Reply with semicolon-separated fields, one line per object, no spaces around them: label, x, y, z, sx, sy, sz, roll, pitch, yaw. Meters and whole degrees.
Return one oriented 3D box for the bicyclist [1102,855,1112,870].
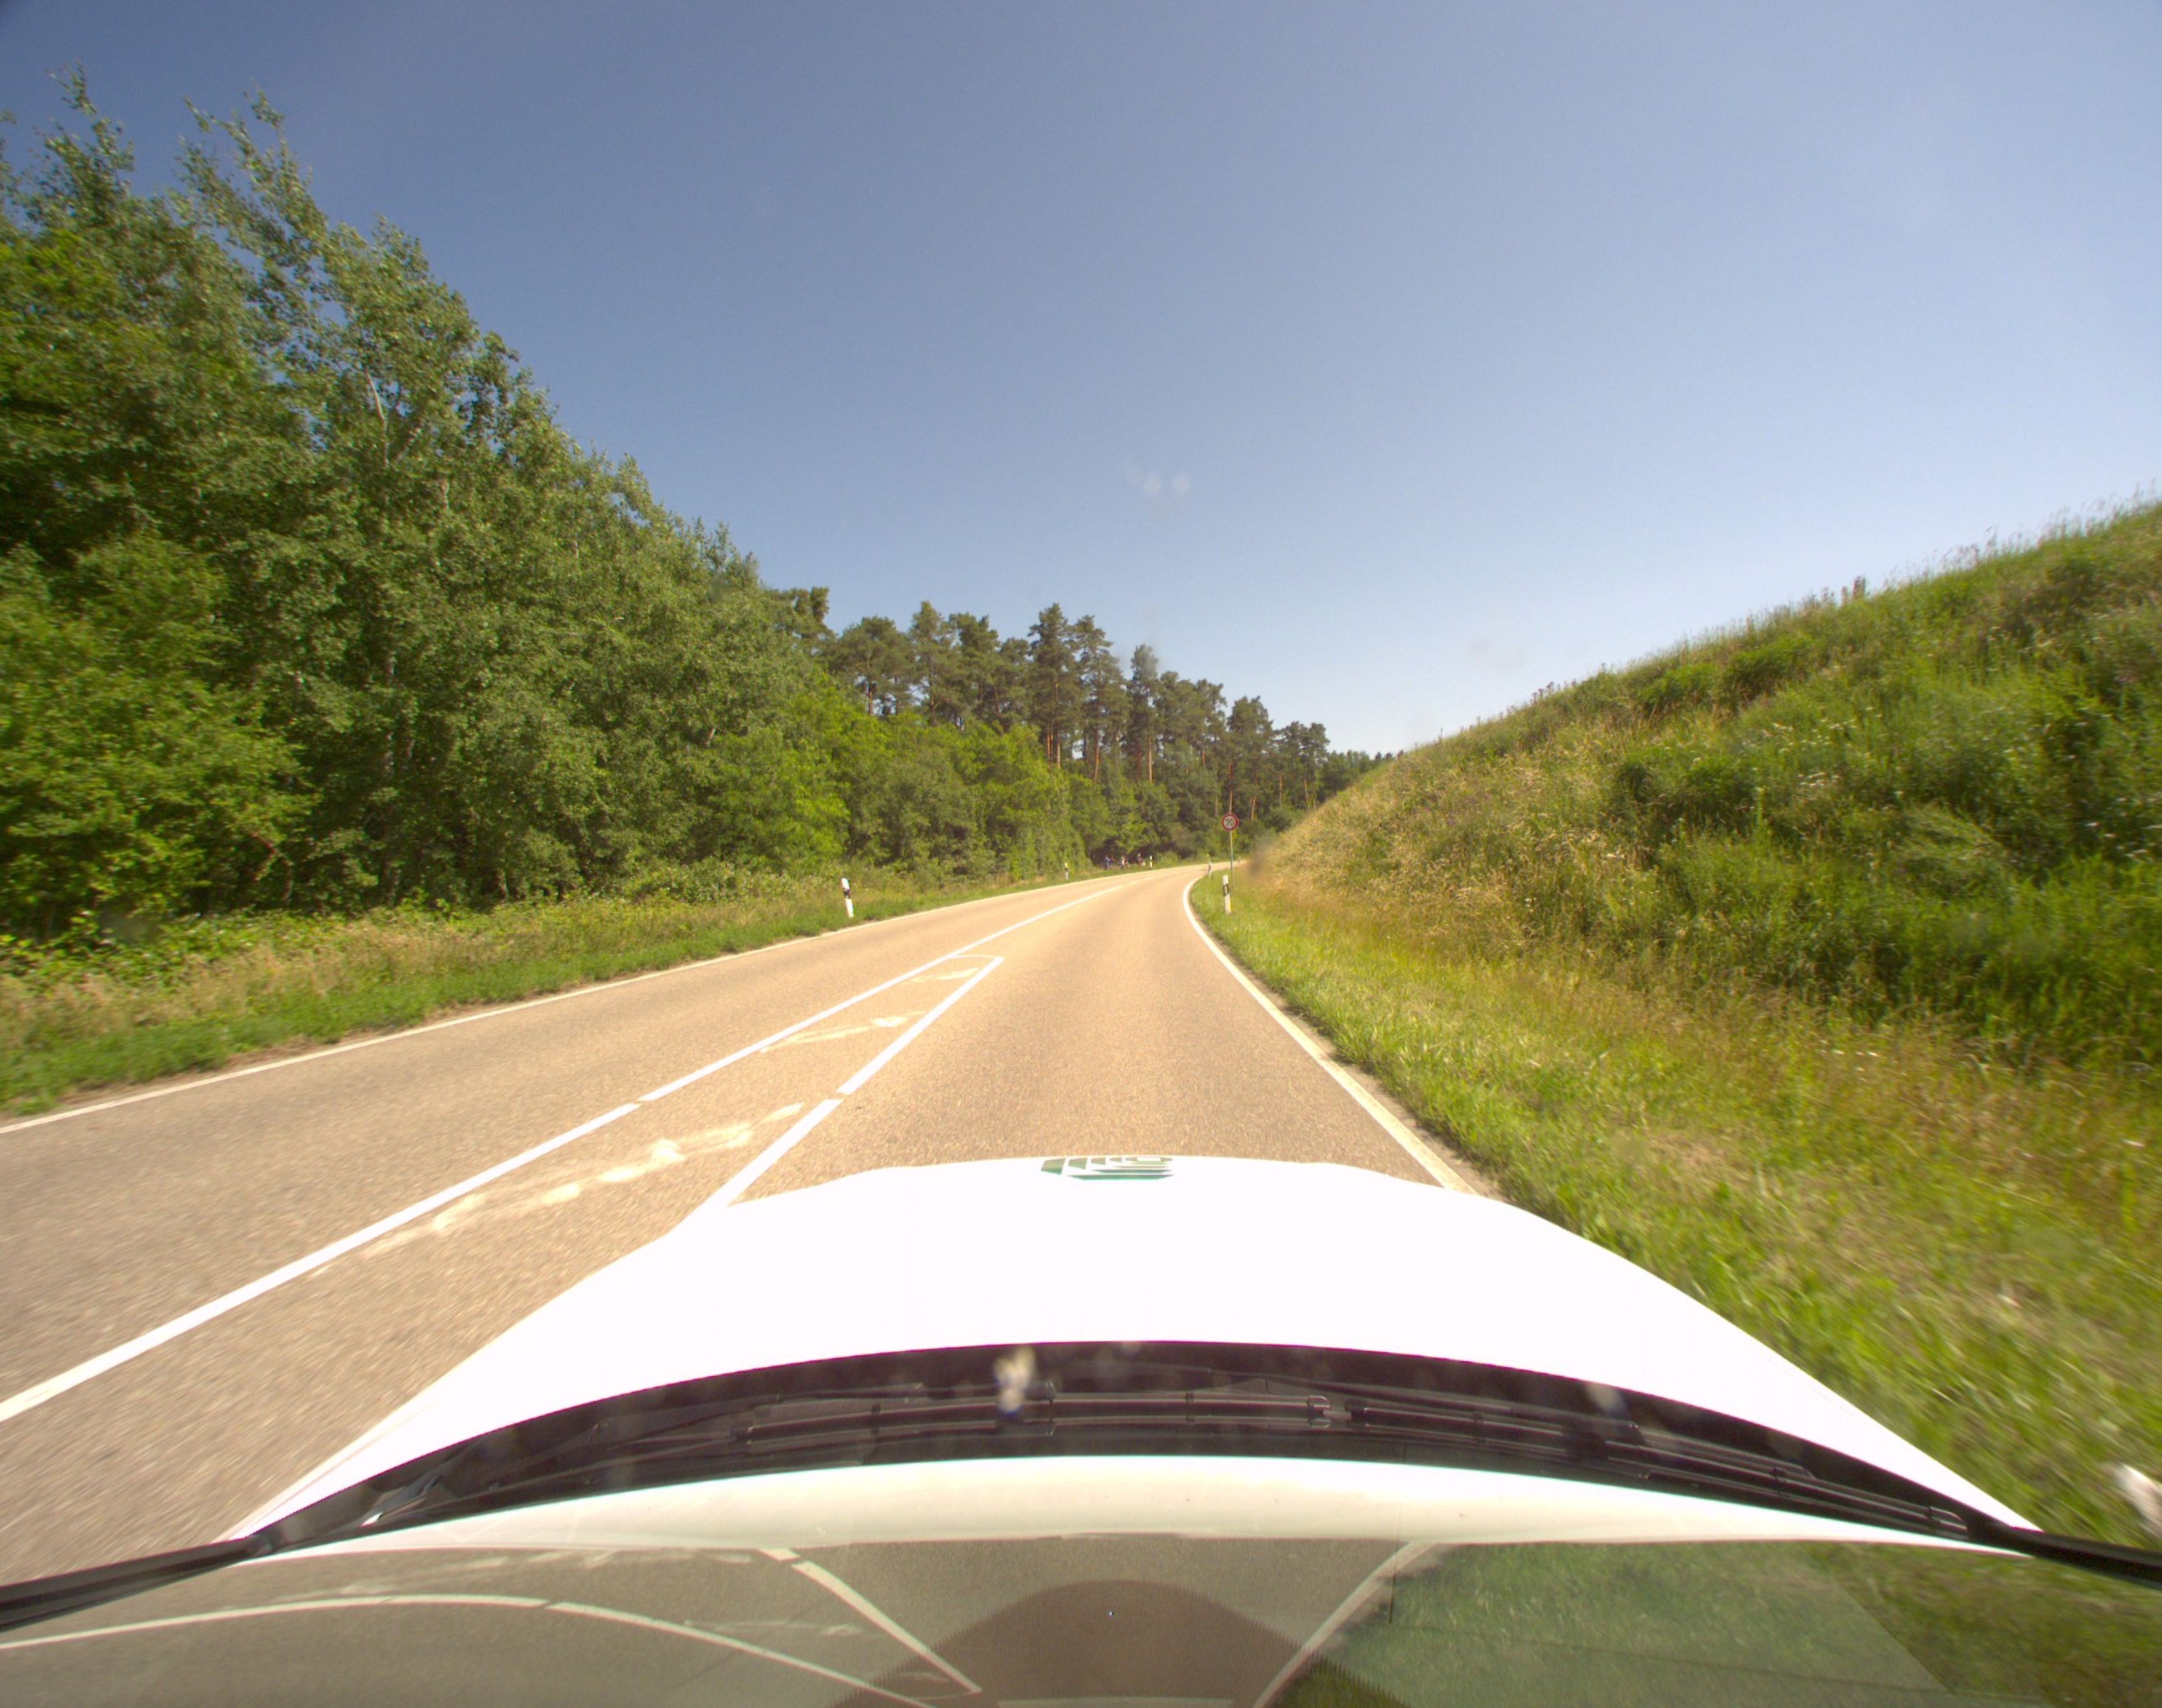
bicyclist;2.631;0.830;82.546;0.873;1.545;0.601;0;-1;-27

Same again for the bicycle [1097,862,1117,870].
bicycle;2.634;1.190;82.532;1.989;0.829;0.601;0;-1;-27

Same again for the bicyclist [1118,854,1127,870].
bicyclist;4.461;0.830;87.215;0.789;1.719;0.602;0;-1;-20

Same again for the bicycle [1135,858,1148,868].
bicycle;6.819;1.040;91.538;1.455;1.086;0.575;-3;2;-42

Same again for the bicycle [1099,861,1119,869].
bicycle;2.904;1.095;83.489;1.989;0.829;0.601;0;-1;-27

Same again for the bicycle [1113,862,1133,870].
bicycle;4.487;1.287;87.222;1.985;0.829;0.602;0;-1;-20

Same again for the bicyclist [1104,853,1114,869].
bicyclist;2.900;0.724;83.496;0.852;1.701;0.601;0;-1;-27
